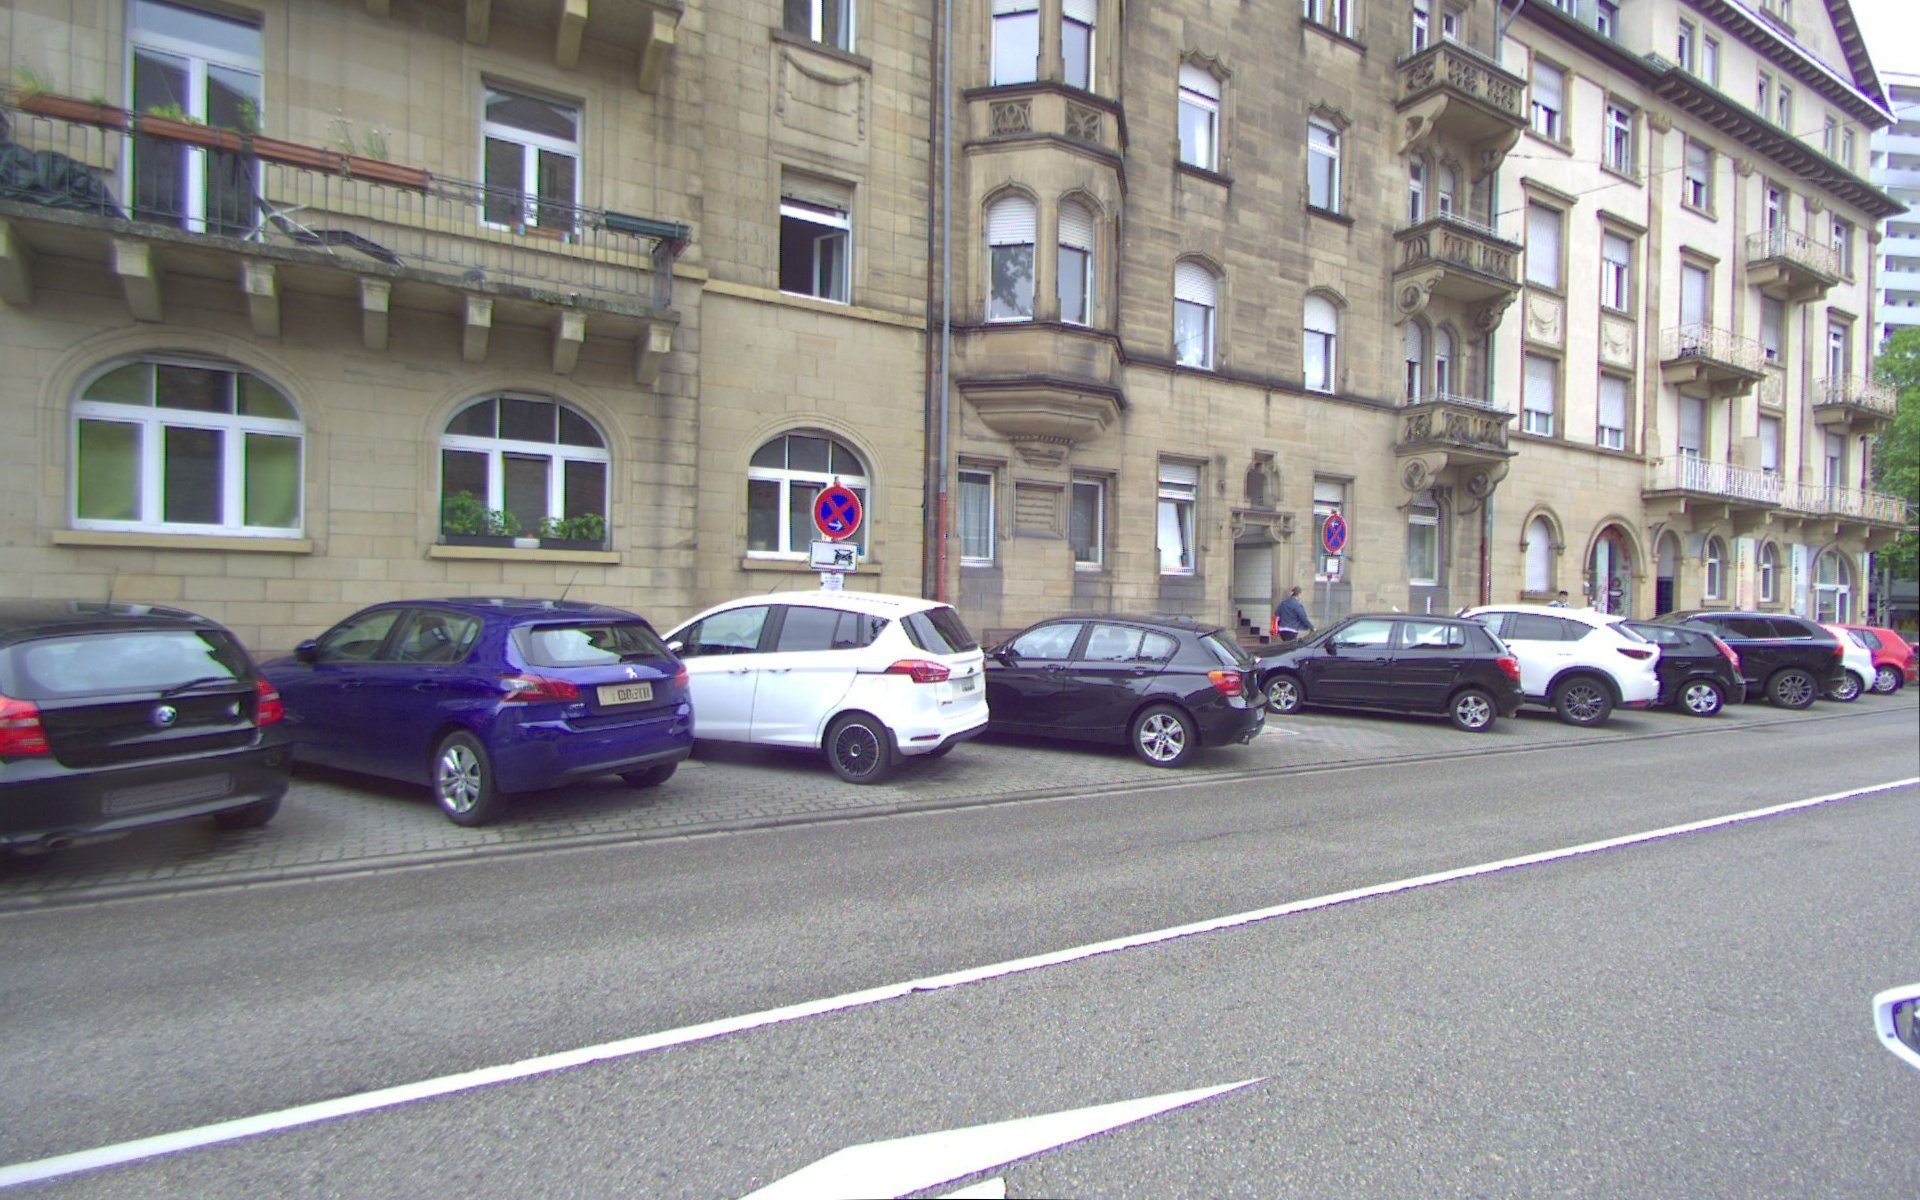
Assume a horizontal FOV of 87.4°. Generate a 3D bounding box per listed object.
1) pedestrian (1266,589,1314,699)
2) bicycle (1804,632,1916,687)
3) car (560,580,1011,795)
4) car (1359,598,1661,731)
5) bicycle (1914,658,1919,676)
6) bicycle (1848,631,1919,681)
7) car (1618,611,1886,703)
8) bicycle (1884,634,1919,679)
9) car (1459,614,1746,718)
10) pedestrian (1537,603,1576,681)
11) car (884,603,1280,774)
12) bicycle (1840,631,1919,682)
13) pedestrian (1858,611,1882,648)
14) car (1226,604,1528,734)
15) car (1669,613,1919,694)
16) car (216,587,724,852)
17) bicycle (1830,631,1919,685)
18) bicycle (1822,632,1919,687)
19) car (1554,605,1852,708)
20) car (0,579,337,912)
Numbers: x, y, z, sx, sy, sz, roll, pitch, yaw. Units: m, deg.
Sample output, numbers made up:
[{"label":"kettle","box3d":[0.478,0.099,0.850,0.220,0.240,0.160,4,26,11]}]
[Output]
[{"label":"pedestrian","box3d":[6.090,0.792,18.532,0.544,1.984,0.616,1,0,-29]},{"label":"bicycle","box3d":[21.317,1.395,23.837,0.436,1.050,1.879,1,4,-26]},{"label":"car","box3d":[-1.664,0.681,9.614,3.922,1.575,1.702,3,2,22]},{"label":"car","box3d":[8.539,0.898,15.710,3.935,1.746,1.835,2,0,36]},{"label":"bicycle","box3d":[25.353,1.797,25.175,1.017,0.451,1.876,-1,6,-31]},{"label":"bicycle","box3d":[23.579,1.426,25.153,0.437,1.050,1.876,0,6,-31]},{"label":"car","box3d":[16.004,1.100,20.543,3.920,1.492,1.564,3,2,18]},{"label":"bicycle","box3d":[24.316,1.475,24.938,0.437,1.050,1.876,0,6,-31]},{"label":"car","box3d":[10.941,1.070,17.469,3.923,1.514,1.731,2,0,23]},{"label":"pedestrian","box3d":[13.993,0.969,23.572,0.544,1.809,0.564,1,0,-29]},{"label":"car","box3d":[1.310,0.841,10.937,3.924,1.436,1.660,2,1,25]},{"label":"bicycle","box3d":[23.057,1.396,24.801,0.437,1.050,1.876,0,6,-31]},{"label":"pedestrian","box3d":[44.865,1.453,49.531,0.718,1.795,0.671,1,0,-30]},{"label":"car","box3d":[5.859,0.905,14.421,3.738,1.517,1.569,3,1,22]},{"label":"car","box3d":[18.308,1.139,22.186,3.919,1.492,1.684,2,2,12]},{"label":"car","box3d":[-3.867,0.714,7.851,3.682,1.465,1.820,3,2,30]},{"label":"bicycle","box3d":[22.503,1.405,24.452,0.437,1.050,1.876,0,6,-31]},{"label":"bicycle","box3d":[22.054,1.412,24.169,0.437,1.050,1.876,0,6,-31]},{"label":"car","box3d":[13.854,0.997,19.019,4.141,1.674,1.732,2,0,18]},{"label":"car","box3d":[-5.978,0.667,6.352,3.927,1.457,1.730,3,2,28]}]
